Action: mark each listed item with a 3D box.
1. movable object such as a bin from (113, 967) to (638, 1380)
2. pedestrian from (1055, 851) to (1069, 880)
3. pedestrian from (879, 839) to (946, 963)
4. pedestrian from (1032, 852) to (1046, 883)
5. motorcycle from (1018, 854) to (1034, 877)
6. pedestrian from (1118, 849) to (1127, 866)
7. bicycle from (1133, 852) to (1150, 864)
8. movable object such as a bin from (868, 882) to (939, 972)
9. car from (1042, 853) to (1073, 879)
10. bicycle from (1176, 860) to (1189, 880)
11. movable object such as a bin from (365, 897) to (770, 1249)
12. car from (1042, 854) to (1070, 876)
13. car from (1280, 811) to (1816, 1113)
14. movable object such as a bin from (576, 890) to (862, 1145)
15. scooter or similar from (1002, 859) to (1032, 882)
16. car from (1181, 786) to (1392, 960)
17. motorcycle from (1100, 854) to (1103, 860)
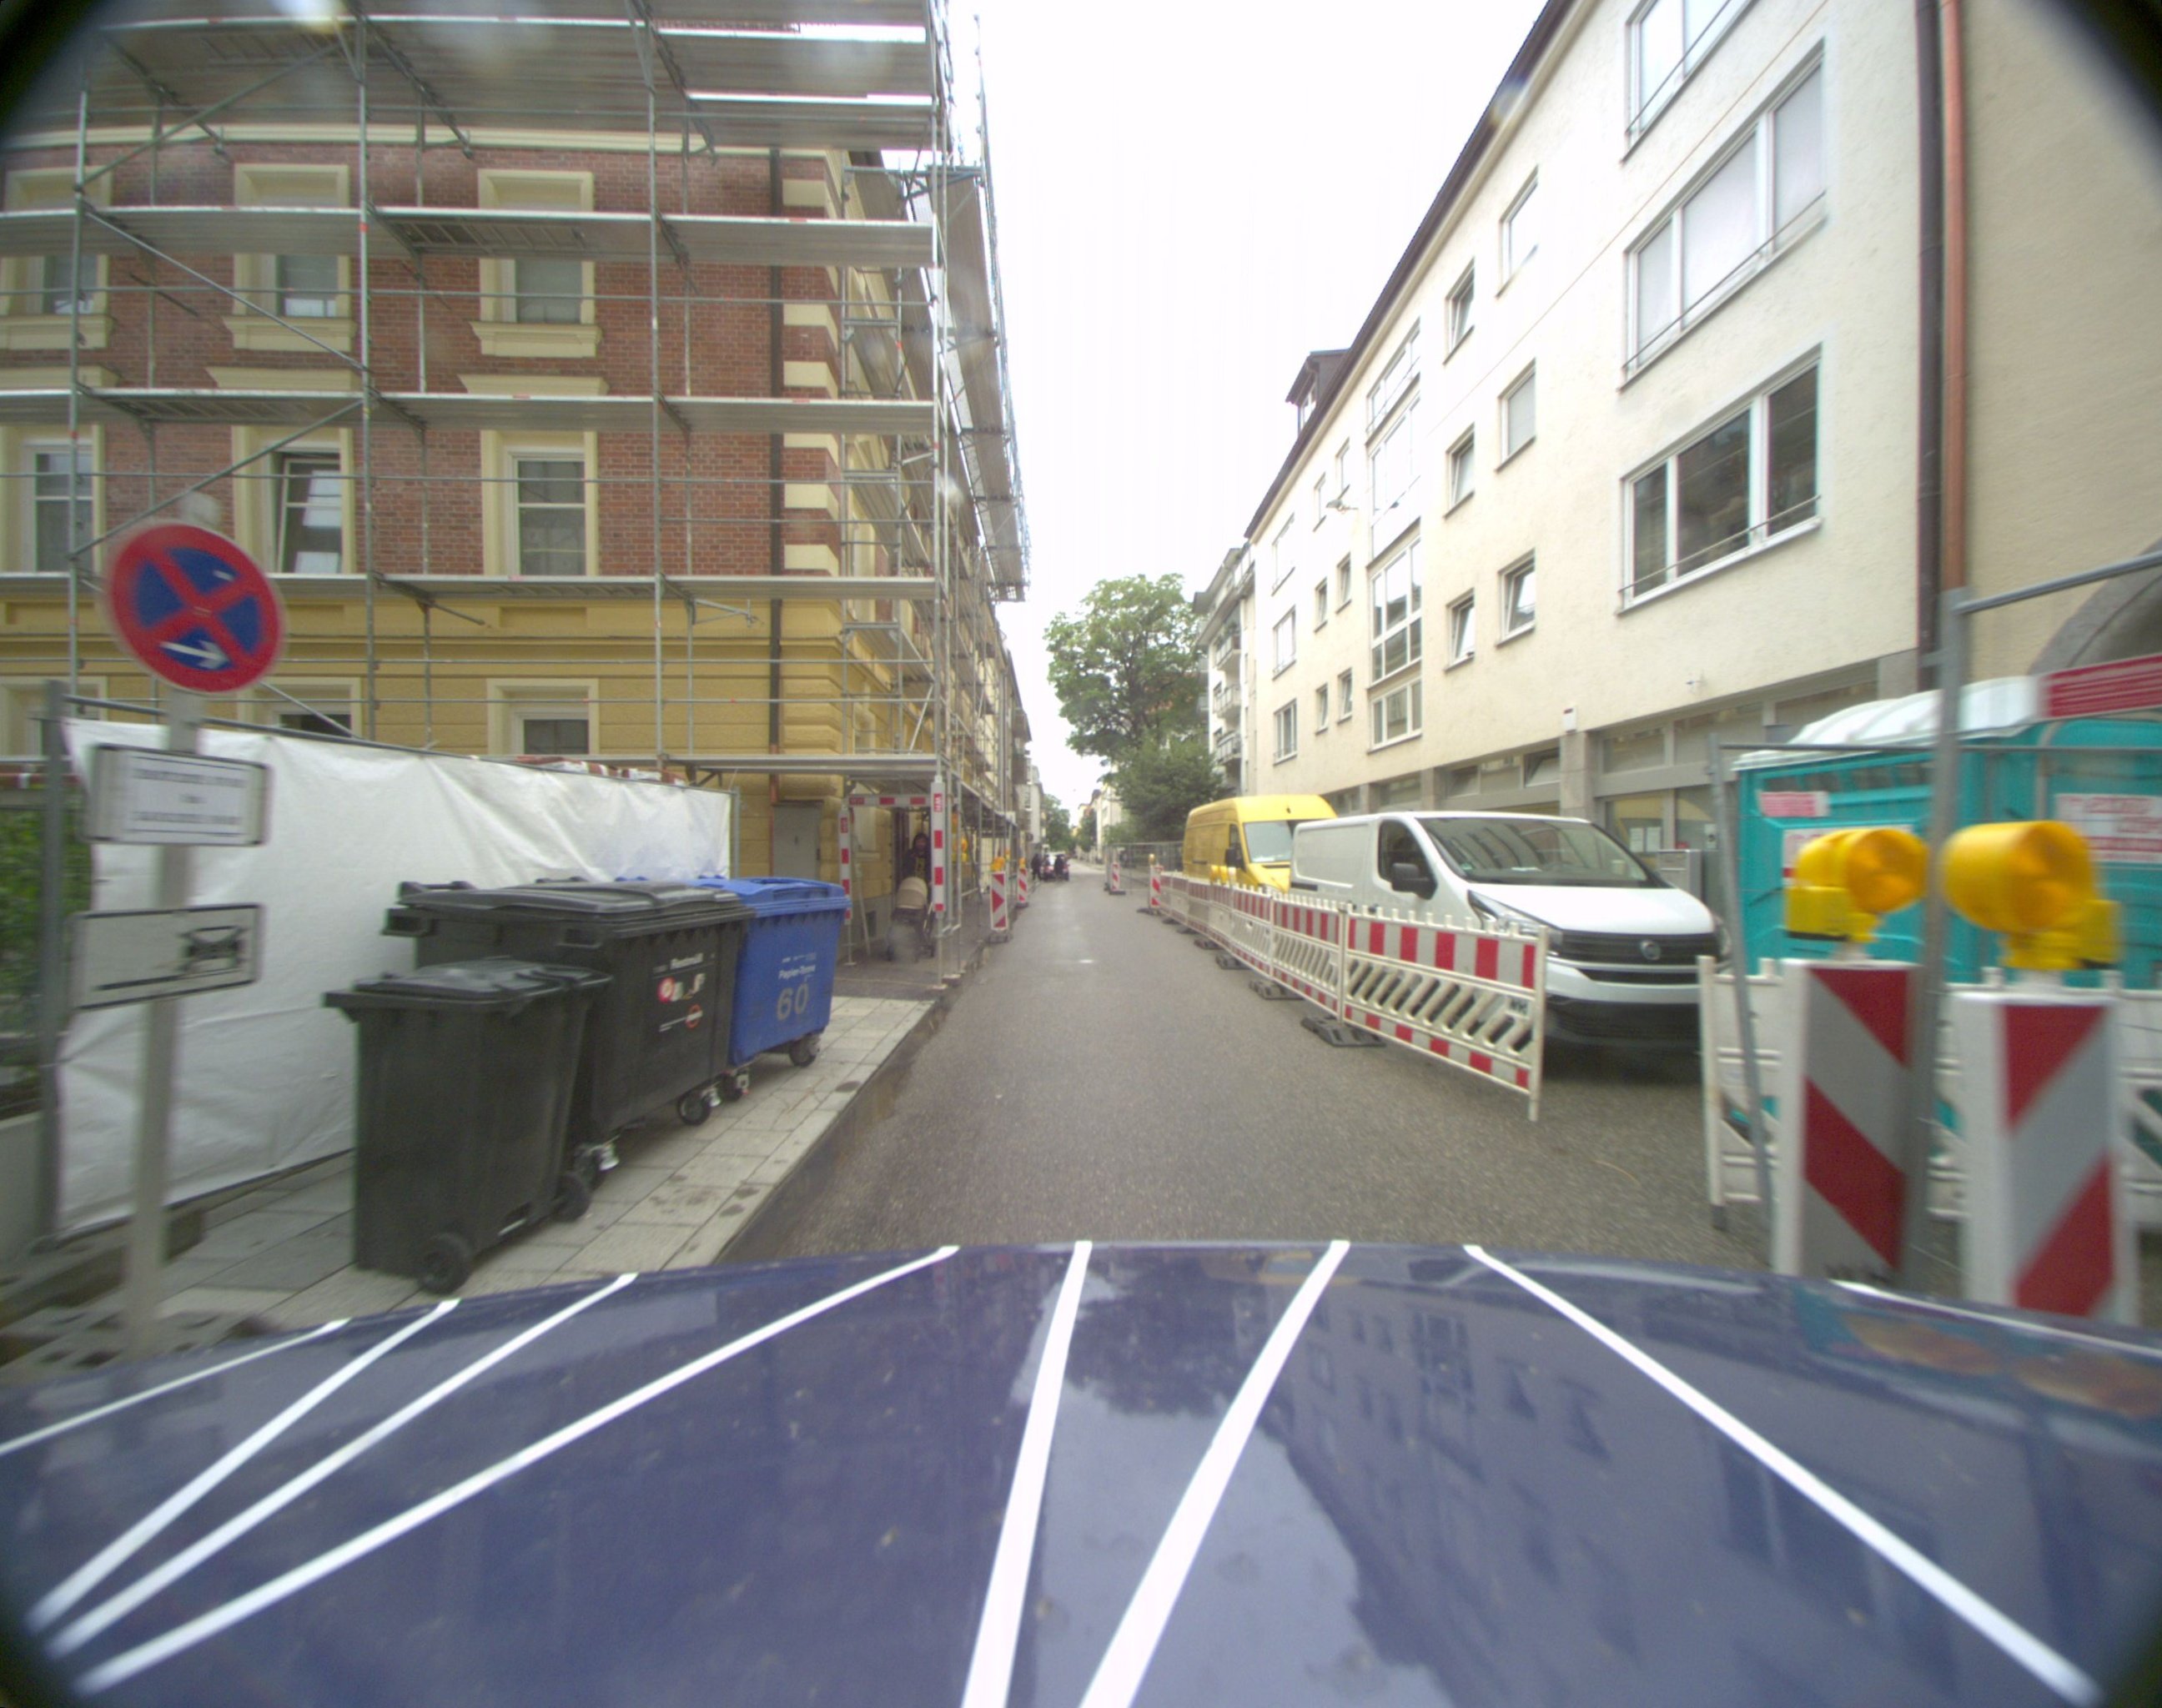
[{"bbox_3d":[-2.504,1.062,2.815,1.213,1.089,0.790,3,0,6],"label":"movable object such as a bin"},{"bbox_3d":[-1.130,0.682,45.034,0.660,1.676,0.546,-3,0,4],"label":"pedestrian"},{"bbox_3d":[-2.503,0.671,11.402,0.731,1.742,0.988,3,0,-2],"label":"pedestrian"},{"bbox_3d":[-2.375,0.761,43.216,0.660,1.676,0.586,-3,0,4],"label":"pedestrian"},{"bbox_3d":[-3.577,0.739,49.507,0.807,1.415,1.932,5,0,-1],"label":"motorcycle"},{"bbox_3d":[4.401,0.354,81.072,0.722,1.718,0.841,-4,1,-1],"label":"pedestrian"},{"bbox_3d":[6.548,0.467,82.725,1.811,1.253,0.432,-1,1,-3],"label":"bicycle"},{"bbox_3d":[-2.491,1.004,10.749,0.731,1.134,0.988,4,0,-3],"label":"movable object such as a bin"},{"bbox_3d":[-1.483,0.753,48.850,1.776,1.515,4.066,-2,0,1],"label":"car"},{"bbox_3d":[5.496,0.854,41.252,0.445,0.973,1.815,-4,1,0],"label":"bicycle"},{"bbox_3d":[-2.429,0.947,3.796,1.128,1.338,1.171,3,0,6],"label":"movable object such as a bin"},{"bbox_3d":[-1.755,0.771,54.427,1.773,1.453,4.380,-2,0,0],"label":"car"},{"bbox_3d":[3.595,0.682,7.200,1.922,1.886,4.789,1,0,-3],"label":"car"},{"bbox_3d":[-2.300,0.958,5.038,1.088,1.338,1.318,3,0,11],"label":"movable object such as a bin"},{"bbox_3d":[-3.352,0.860,39.911,0.493,1.176,1.611,3,0,39],"label":"scooter or similar"},{"bbox_3d":[3.488,0.280,14.587,1.999,2.563,6.735,0,0,-2],"label":"car"},{"bbox_3d":[3.385,0.547,124.260,0.324,0.968,1.960,-2,0,-1],"label":"motorcycle"}]
